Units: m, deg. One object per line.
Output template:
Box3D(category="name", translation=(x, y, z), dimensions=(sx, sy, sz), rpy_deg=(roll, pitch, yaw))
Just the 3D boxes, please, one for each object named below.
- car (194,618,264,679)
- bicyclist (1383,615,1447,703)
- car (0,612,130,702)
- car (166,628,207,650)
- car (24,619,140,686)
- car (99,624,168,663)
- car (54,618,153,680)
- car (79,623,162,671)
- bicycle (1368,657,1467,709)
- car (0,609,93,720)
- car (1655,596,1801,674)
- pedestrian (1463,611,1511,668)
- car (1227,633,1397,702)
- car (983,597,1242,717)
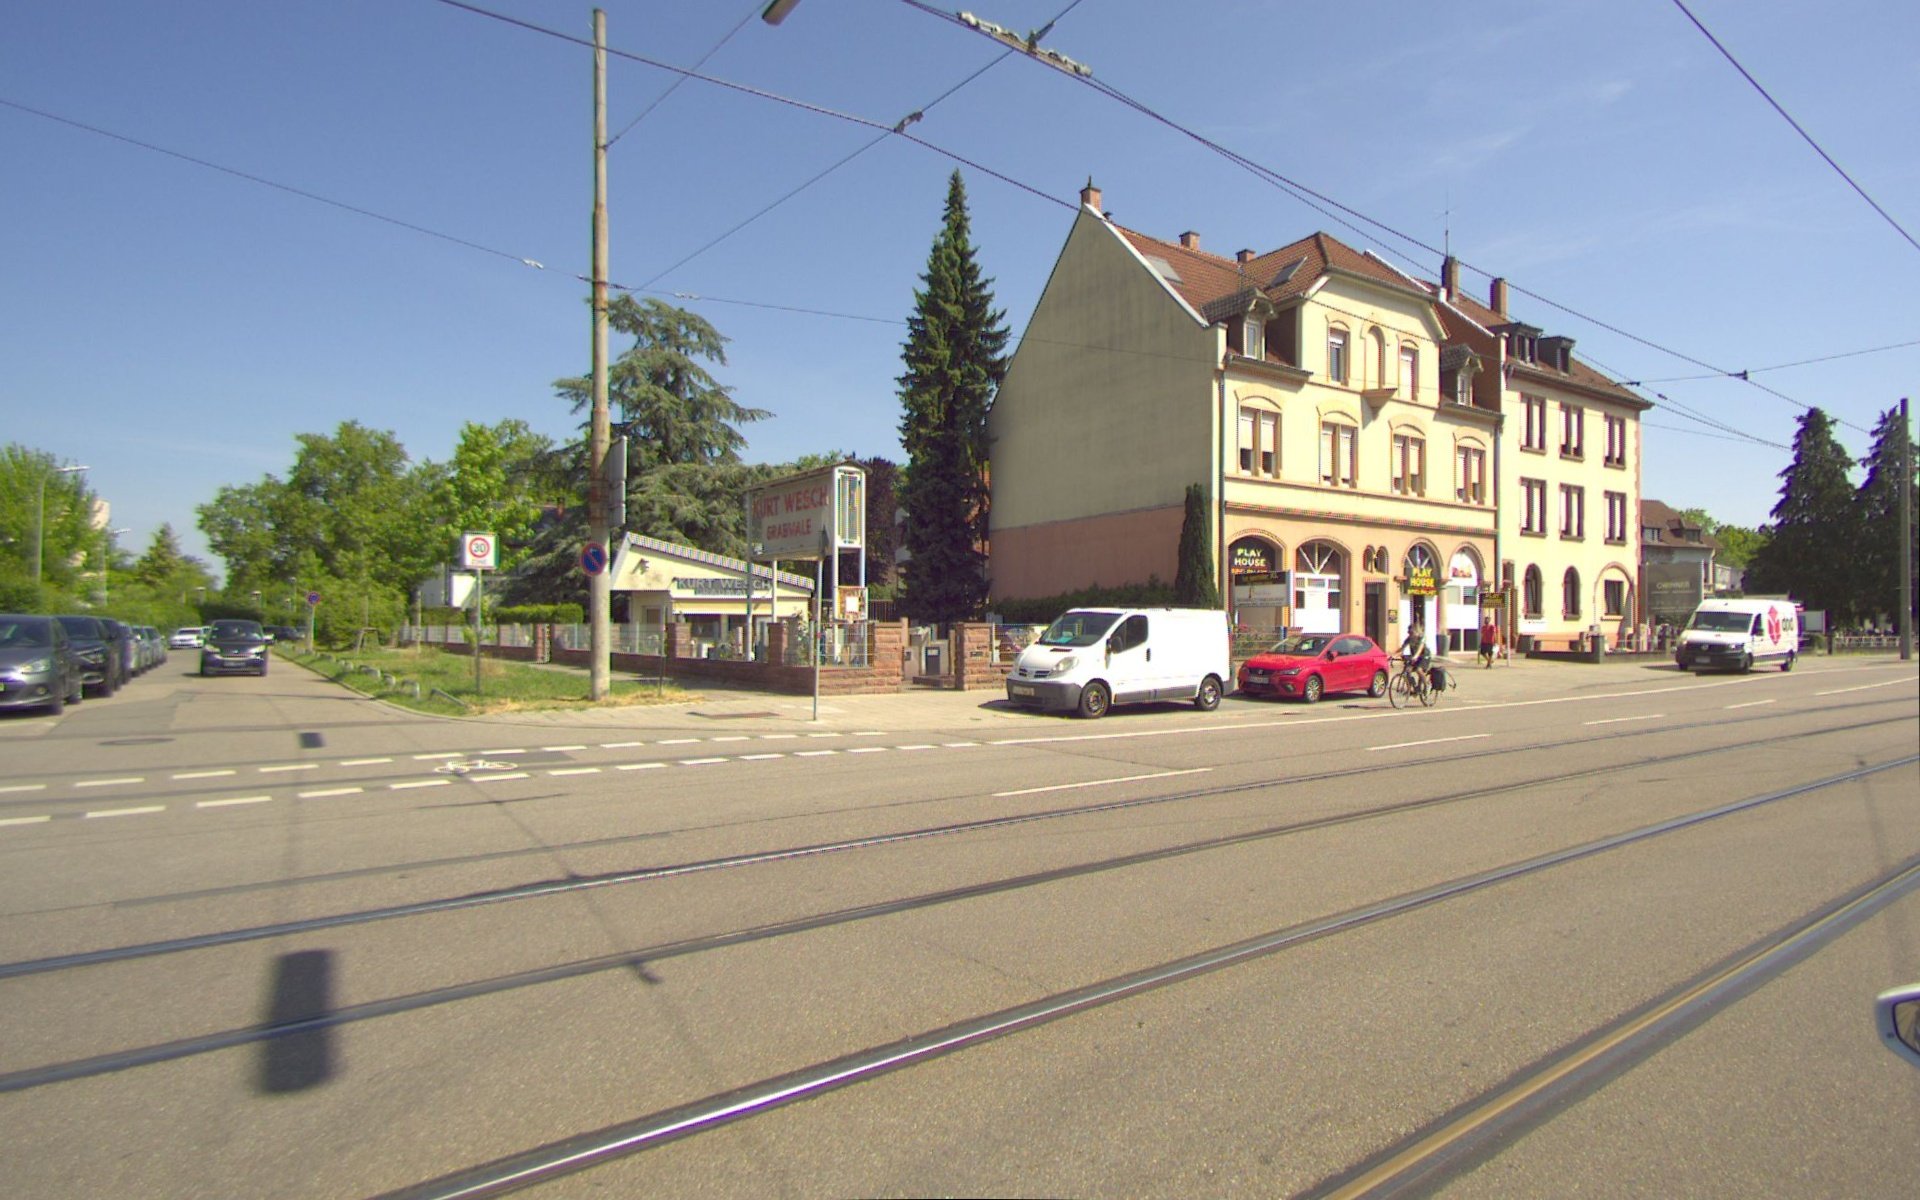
Box3D(category="car", translation=(-20.171, 1.298, 27.783), dimensions=(1.464, 1.559, 2.947), rpy_deg=(1, -1, -35))
Box3D(category="bicyclist", translation=(9.298, 1.194, 20.548), dimensions=(0.974, 1.747, 0.714), rpy_deg=(1, -2, -24))
Box3D(category="car", translation=(-17.216, 1.032, 19.265), dimensions=(1.799, 1.539, 4.125), rpy_deg=(1, -2, -37))
Box3D(category="car", translation=(-53.822, 2.675, 69.936), dimensions=(1.915, 1.468, 3.794), rpy_deg=(1, -2, -33))
Box3D(category="car", translation=(-20.740, 1.202, 23.872), dimensions=(1.767, 1.463, 3.810), rpy_deg=(1, -2, -37))
Box3D(category="car", translation=(-30.825, 1.600, 37.548), dimensions=(1.799, 1.340, 3.788), rpy_deg=(2, -2, -37))
Box3D(category="car", translation=(-23.176, 1.260, 27.303), dimensions=(1.798, 1.525, 4.002), rpy_deg=(1, -1, -37))
Box3D(category="car", translation=(-26.719, 1.458, 32.069), dimensions=(1.799, 1.422, 3.788), rpy_deg=(1, -2, -37))
Box3D(category="bicycle", translation=(9.381, 1.680, 20.567), dimensions=(2.135, 0.996, 0.607), rpy_deg=(1, -2, -25))
Box3D(category="car", translation=(-14.623, 0.945, 15.441), dimensions=(1.689, 1.547, 3.657), rpy_deg=(1, -2, -37))
Box3D(category="car", translation=(27.685, 1.204, 36.117), dimensions=(6.441, 2.569, 2.314), rpy_deg=(1, 0, -35))
Box3D(category="pedestrian", translation=(17.531, 1.301, 33.403), dimensions=(1.115, 1.839, 0.939), rpy_deg=(1, -1, -27))
Box3D(category="car", translation=(8.030, 1.465, 22.795), dimensions=(3.962, 1.425, 1.709), rpy_deg=(1, -2, -36))
Box3D(category="car", translation=(2.996, 1.024, 19.292), dimensions=(4.859, 2.040, 2.070), rpy_deg=(1, -1, -35))
